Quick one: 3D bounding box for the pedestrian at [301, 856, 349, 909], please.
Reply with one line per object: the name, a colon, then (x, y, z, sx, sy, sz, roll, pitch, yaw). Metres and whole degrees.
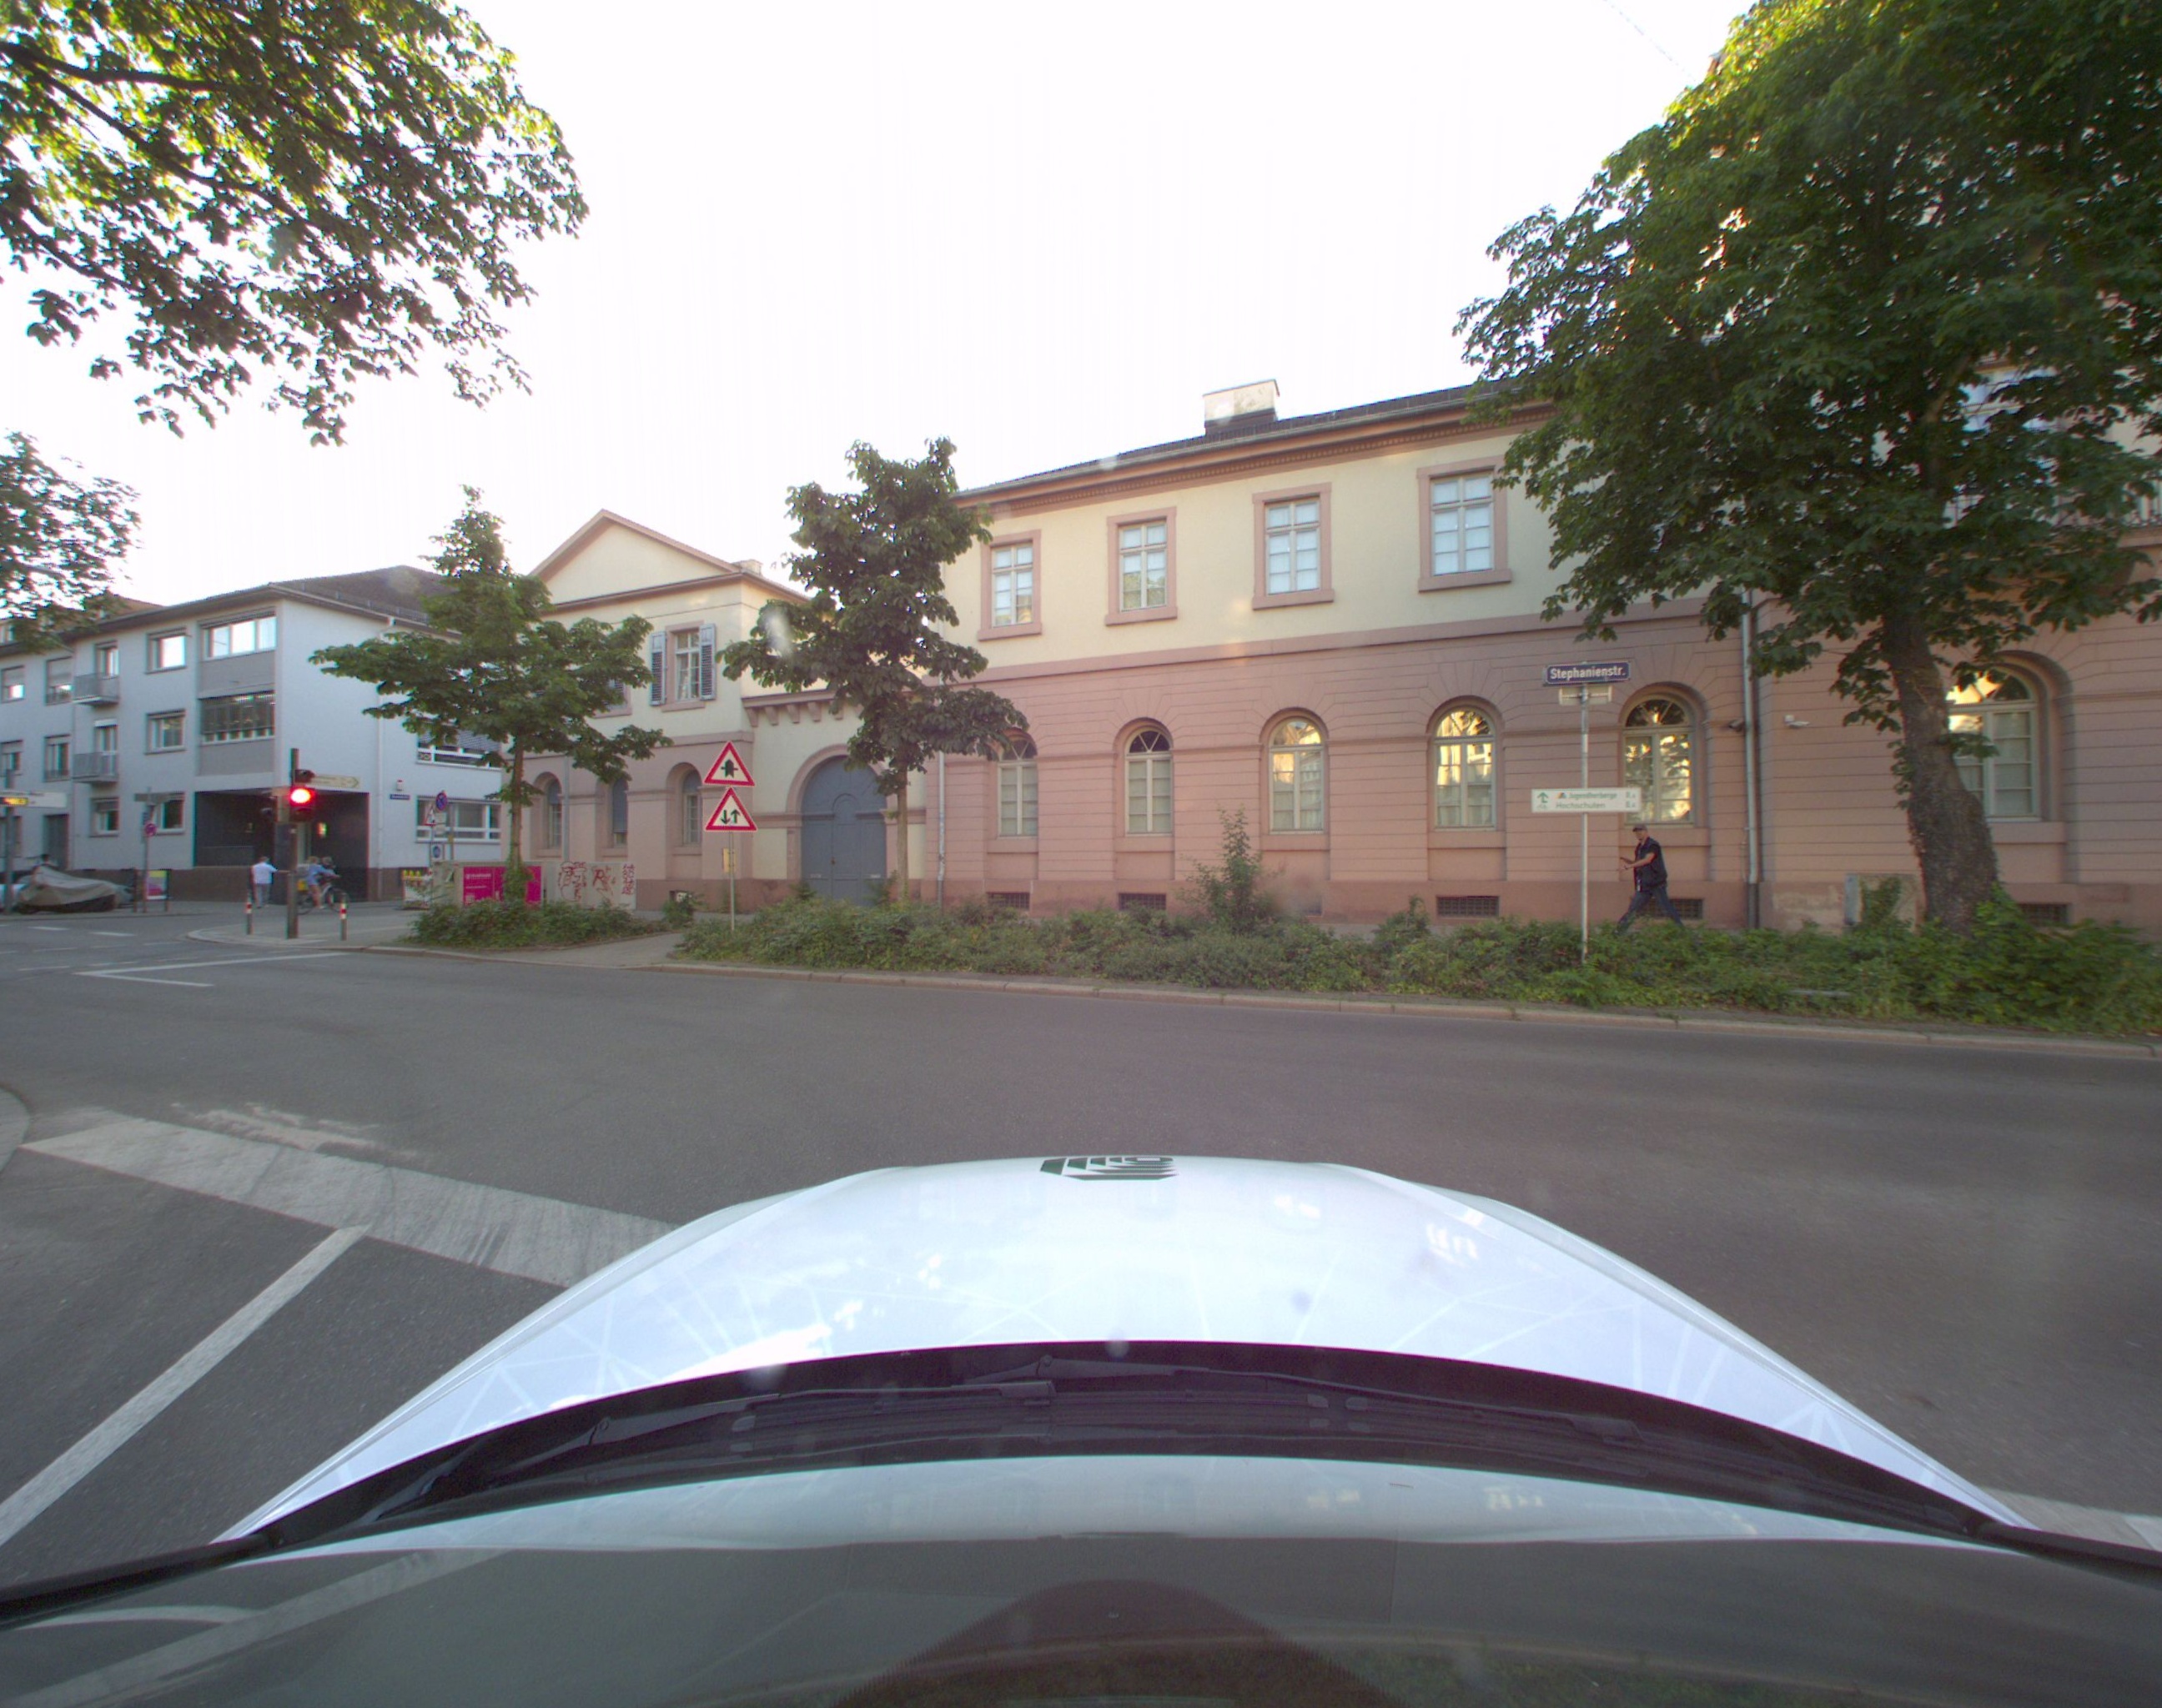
pedestrian: (-25.583, 0.963, 27.569, 0.761, 1.752, 0.939, 0, -1, 27)

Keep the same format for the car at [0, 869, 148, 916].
car: (-32.568, 1.169, 25.508, 1.686, 1.342, 4.049, -1, 0, 23)

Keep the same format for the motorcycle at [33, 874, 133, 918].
motorcycle: (-29.652, 1.224, 24.230, 0.605, 1.199, 1.817, -1, 0, 31)

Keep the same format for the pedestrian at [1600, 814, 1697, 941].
pedestrian: (8.616, 0.349, 12.421, 1.069, 1.839, 0.805, -1, -1, 25)

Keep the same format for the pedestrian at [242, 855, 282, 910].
pedestrian: (-26.887, 0.929, 26.747, 0.691, 1.752, 0.710, 0, -1, 26)

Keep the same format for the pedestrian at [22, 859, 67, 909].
pedestrian: (-38.485, 1.101, 30.249, 0.932, 1.841, 0.773, 0, -1, 23)

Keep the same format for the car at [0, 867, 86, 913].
car: (-35.143, 1.162, 25.920, 1.686, 1.442, 4.049, -1, 0, 22)
